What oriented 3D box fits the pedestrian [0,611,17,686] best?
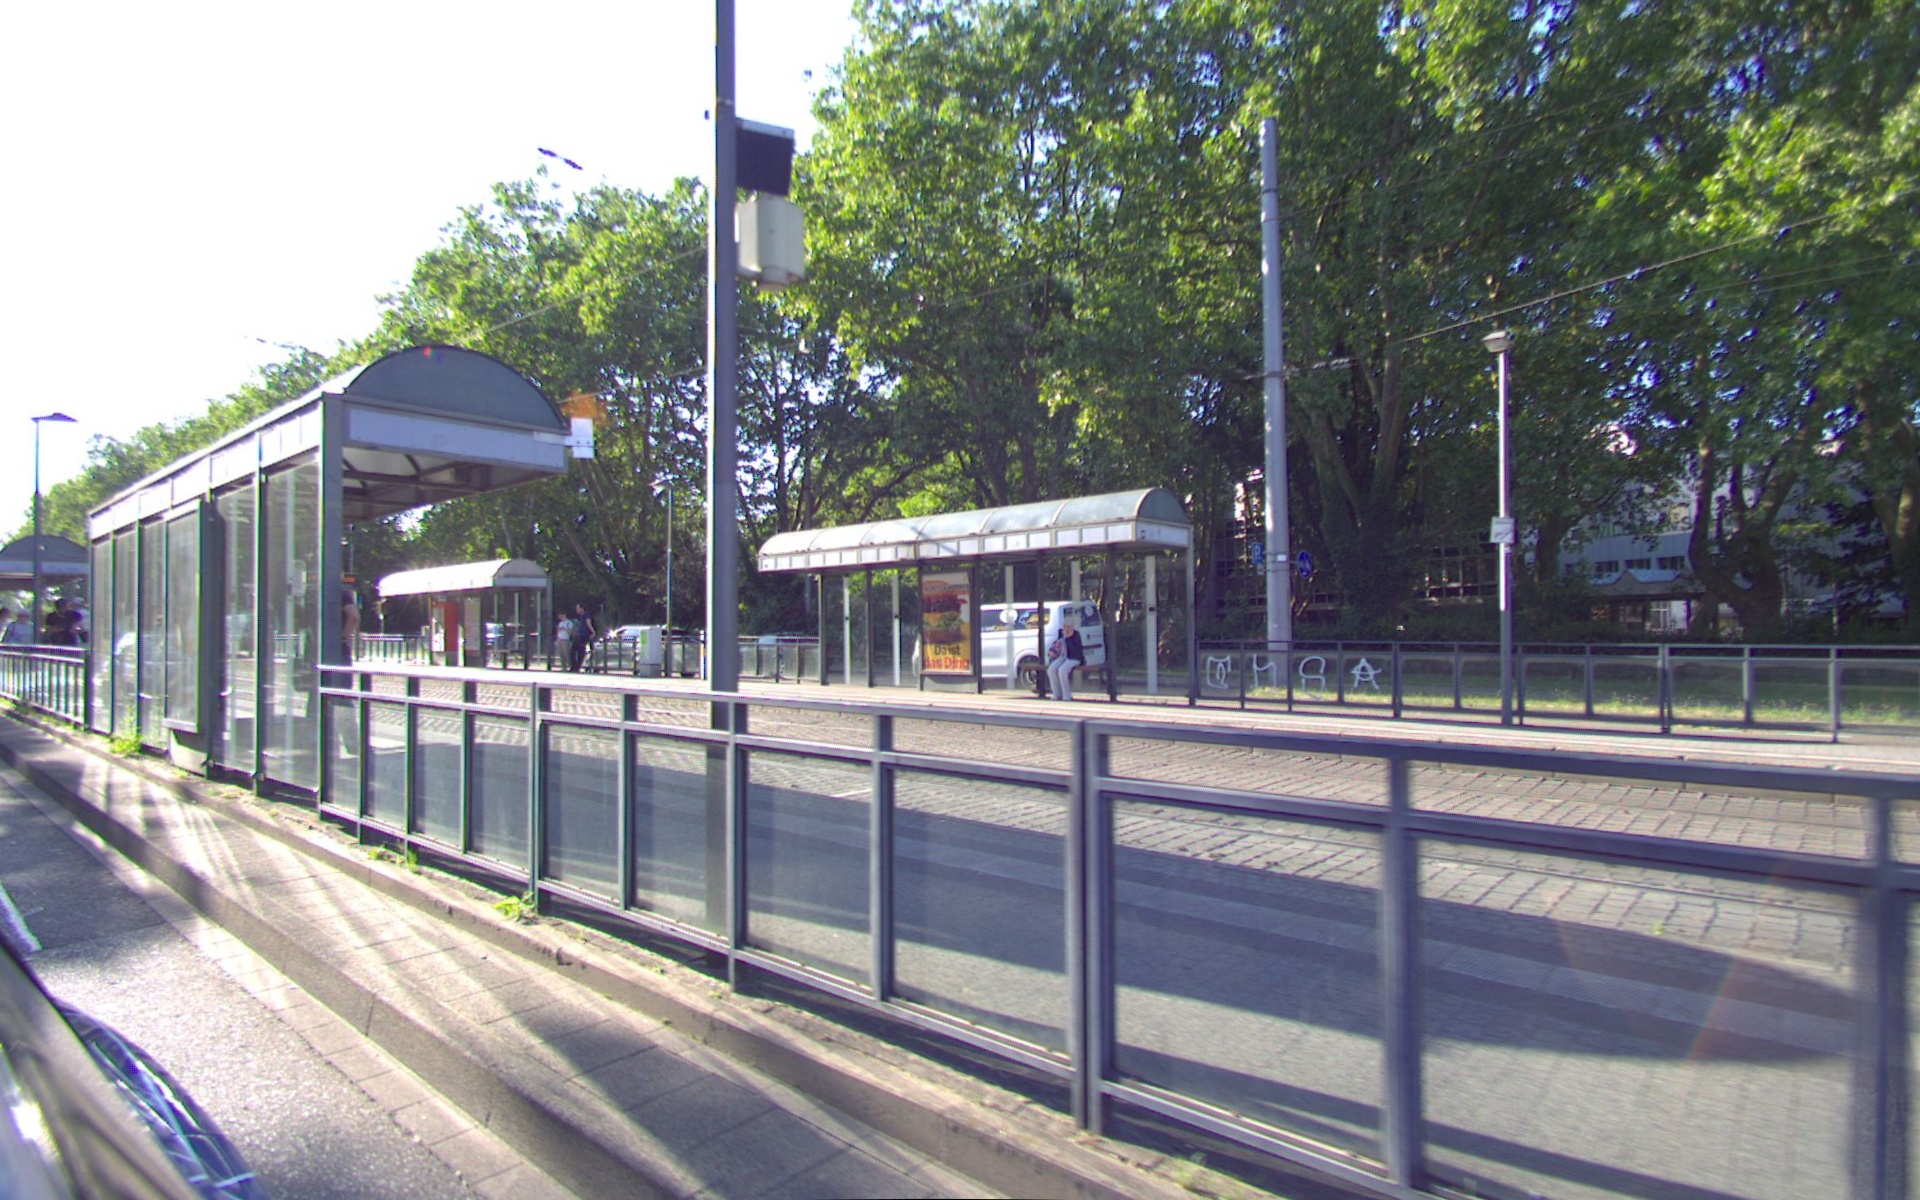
[{"bbox_3d":[-22.224,1.110,23.249,0.791,1.707,0.734,-2,0,42],"label":"pedestrian"}]

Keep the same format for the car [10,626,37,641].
[{"bbox_3d":[-119.730,4.288,129.374,4.390,1.854,1.808,-1,-3,40],"label":"car"}]

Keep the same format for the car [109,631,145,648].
[{"bbox_3d":[-74.892,3.557,90.991,3.848,1.448,1.721,-1,-3,40],"label":"car"}]

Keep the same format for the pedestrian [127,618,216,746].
[{"bbox_3d":[-8.525,0.859,10.942,0.593,1.319,0.671,-1,-1,42],"label":"pedestrian"}]

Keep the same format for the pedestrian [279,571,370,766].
[{"bbox_3d":[-5.790,0.600,9.221,0.588,1.690,0.590,0,-1,-44],"label":"pedestrian"}]

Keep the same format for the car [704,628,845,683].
[{"bbox_3d":[-5.614,1.625,30.301,4.338,1.522,1.776,-1,-3,40],"label":"car"}]

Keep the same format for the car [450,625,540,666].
[{"bbox_3d":[-19.835,1.912,43.138,3.968,1.664,1.884,-1,-3,38],"label":"car"}]

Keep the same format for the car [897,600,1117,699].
[{"bbox_3d":[1.049,1.150,24.327,5.086,2.141,2.046,-1,-3,40],"label":"car"}]

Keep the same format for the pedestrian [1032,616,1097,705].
[{"bbox_3d":[1.615,0.932,15.647,0.756,1.335,0.663,-2,-5,39],"label":"pedestrian"}]

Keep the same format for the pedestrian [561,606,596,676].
[{"bbox_3d":[-9.971,1.052,26.435,0.650,1.785,0.641,-1,0,44],"label":"pedestrian"}]

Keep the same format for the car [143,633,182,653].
[{"bbox_3d":[-65.342,3.502,82.897,3.878,1.567,1.721,-1,-3,40],"label":"car"}]

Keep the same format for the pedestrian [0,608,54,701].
[{"bbox_3d":[-17.391,0.993,18.571,0.789,1.646,0.869,-2,0,-11],"label":"pedestrian"}]

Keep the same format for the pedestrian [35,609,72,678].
[{"bbox_3d":[-21.566,1.024,24.075,0.650,1.579,0.582,-2,0,42],"label":"pedestrian"}]

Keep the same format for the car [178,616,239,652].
[{"bbox_3d":[-55.389,2.487,74.520,6.044,2.540,2.161,-1,-3,40],"label":"car"}]

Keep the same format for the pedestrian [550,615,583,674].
[{"bbox_3d":[-10.466,1.173,26.941,0.626,1.555,0.586,-1,0,42],"label":"pedestrian"}]

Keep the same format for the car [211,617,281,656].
[{"bbox_3d":[-49.090,2.494,69.509,6.264,2.540,2.162,-1,-3,38],"label":"car"}]

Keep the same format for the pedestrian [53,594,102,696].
[{"bbox_3d":[-16.480,0.828,18.917,0.643,1.855,0.712,-1,0,-39],"label":"pedestrian"}]

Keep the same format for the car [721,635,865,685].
[{"bbox_3d":[-4.933,1.718,29.553,4.311,1.302,1.752,-1,-3,40],"label":"car"}]

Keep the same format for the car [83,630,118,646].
[{"bbox_3d":[-82.899,3.690,97.587,4.320,1.448,1.808,-1,-3,40],"label":"car"}]

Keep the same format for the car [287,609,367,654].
[{"bbox_3d":[-37.578,1.867,59.999,6.027,2.540,2.161,-1,-3,40],"label":"car"}]

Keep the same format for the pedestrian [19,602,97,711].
[{"bbox_3d":[-14.842,0.916,16.667,0.701,1.735,0.652,-1,0,6],"label":"pedestrian"}]
